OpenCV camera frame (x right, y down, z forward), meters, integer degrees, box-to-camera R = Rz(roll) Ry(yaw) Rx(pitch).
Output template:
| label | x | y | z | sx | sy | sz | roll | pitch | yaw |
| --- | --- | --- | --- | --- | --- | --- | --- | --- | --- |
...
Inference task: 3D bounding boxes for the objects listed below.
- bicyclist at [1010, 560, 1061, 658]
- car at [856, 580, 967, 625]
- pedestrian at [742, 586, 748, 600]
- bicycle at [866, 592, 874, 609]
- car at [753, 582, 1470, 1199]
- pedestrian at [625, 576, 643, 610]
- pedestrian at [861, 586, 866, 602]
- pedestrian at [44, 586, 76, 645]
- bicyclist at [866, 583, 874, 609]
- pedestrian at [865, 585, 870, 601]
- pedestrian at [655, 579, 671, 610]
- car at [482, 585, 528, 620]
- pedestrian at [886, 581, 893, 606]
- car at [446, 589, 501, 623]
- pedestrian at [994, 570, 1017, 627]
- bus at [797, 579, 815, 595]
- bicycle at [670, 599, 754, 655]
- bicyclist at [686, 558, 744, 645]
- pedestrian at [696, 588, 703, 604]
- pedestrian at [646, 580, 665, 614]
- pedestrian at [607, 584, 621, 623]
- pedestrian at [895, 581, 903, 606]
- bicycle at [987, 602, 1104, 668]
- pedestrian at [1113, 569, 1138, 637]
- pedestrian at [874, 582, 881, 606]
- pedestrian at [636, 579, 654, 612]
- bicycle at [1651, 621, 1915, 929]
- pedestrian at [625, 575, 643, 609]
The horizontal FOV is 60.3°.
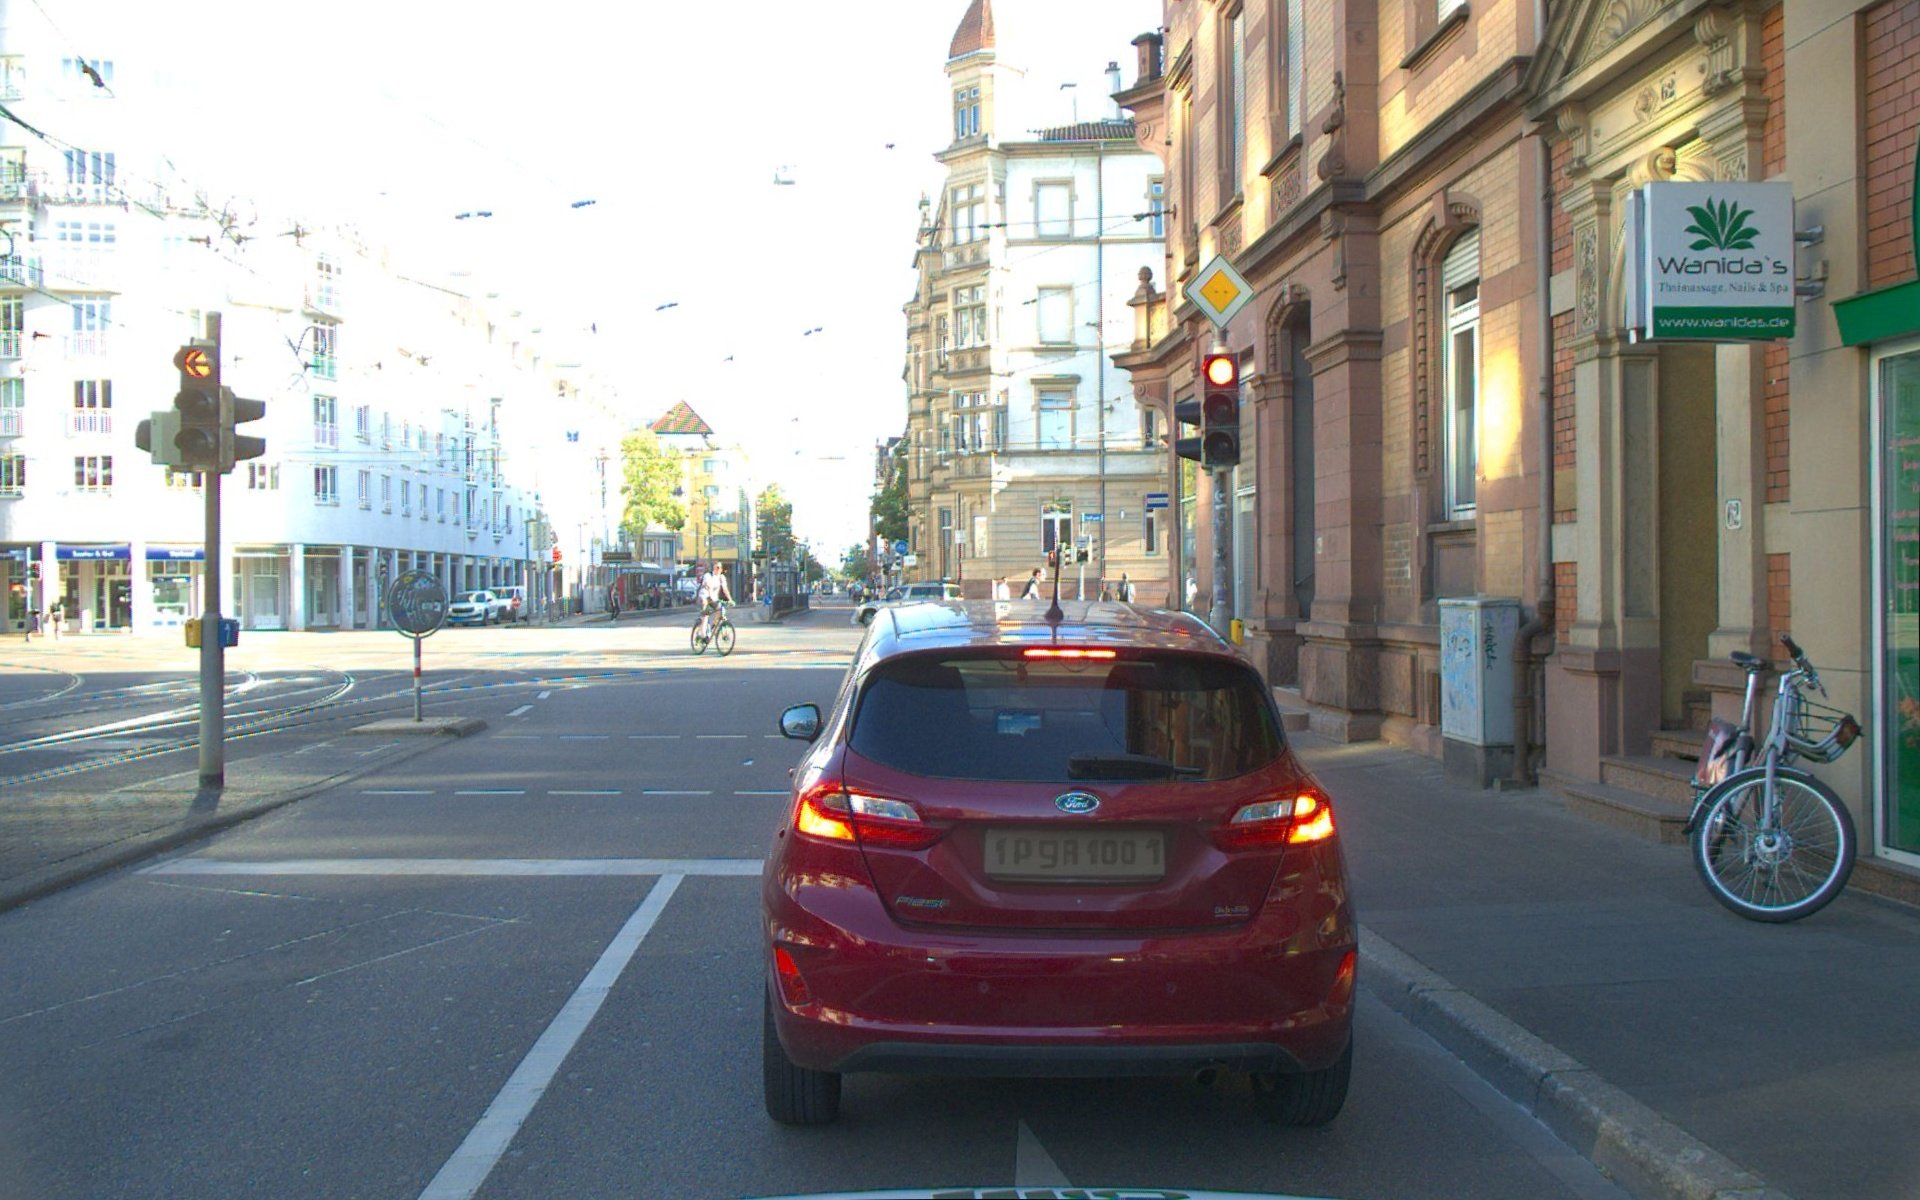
| label | x | y | z | sx | sy | sz | roll | pitch | yaw |
| --- | --- | --- | --- | --- | --- | --- | --- | --- | --- |
| bicyclist | 1.383 | 0.159 | 30.220 | 0.775 | 1.756 | 0.811 | -1 | 0 | 14 |
| car | -1.769 | 0.105 | 60.135 | 3.819 | 1.576 | 1.453 | -1 | 0 | 26 |
| pedestrian | -25.504 | -0.812 | 196.370 | 0.619 | 1.632 | 0.575 | -1 | 0 | -20 |
| bicycle | -6.095 | 0.028 | 112.025 | 0.515 | 1.108 | 1.486 | -1 | 0 | -1 |
| car | 0.204 | 0.704 | 5.914 | 1.720 | 1.492 | 3.941 | 1 | 0 | -5 |
| pedestrian | -19.782 | -0.412 | 100.348 | 0.937 | 2.049 | 1.048 | -1 | 0 | -4 |
| pedestrian | -11.938 | -0.751 | 203.889 | 0.565 | 1.920 | 0.669 | -1 | 0 | -3 |
| pedestrian | -31.728 | 0.528 | 58.285 | 0.934 | 2.049 | 0.930 | -1 | 0 | -31 |
| bicyclist | -6.092 | -0.272 | 111.893 | 0.489 | 1.705 | 0.545 | -1 | 0 | -2 |
| pedestrian | -11.256 | -0.800 | 200.447 | 0.565 | 1.920 | 0.630 | -1 | 0 | -3 |
| pedestrian | -19.973 | -0.351 | 111.366 | 0.937 | 2.049 | 1.047 | -1 | 0 | -6 |
| car | -23.932 | 0.126 | 87.079 | 1.667 | 1.748 | 3.561 | -1 | 0 | -4 |
| pedestrian | -5.757 | -0.512 | 135.010 | 0.565 | 2.049 | 0.631 | -1 | 0 | 2 |
| car | -23.367 | 0.288 | 79.501 | 1.730 | 1.573 | 3.459 | -1 | 0 | -3 |
| pedestrian | 1.675 | -0.056 | 60.973 | 0.741 | 2.049 | 0.654 | -1 | 0 | 7 |
| bus | -20.153 | -1.675 | 216.770 | 1.887 | 2.049 | 7.134 | -1 | 0 | -2 |
| bicycle | -5.381 | 0.562 | 35.791 | 0.804 | 1.167 | 1.978 | -1 | 0 | -44 |
| bicyclist | -5.301 | 0.019 | 35.788 | 0.804 | 1.853 | 0.977 | -1 | 0 | -44 |
| pedestrian | -25.219 | -0.387 | 160.204 | 0.569 | 1.514 | 0.525 | -1 | 0 | -5 |
| pedestrian | -18.846 | -0.184 | 102.431 | 1.025 | 2.049 | 0.958 | -1 | 0 | -6 |
| pedestrian | -15.244 | 0.138 | 72.889 | 0.513 | 1.711 | 0.486 | -1 | 0 | 1 |
| pedestrian | -4.984 | -0.505 | 134.446 | 0.565 | 2.049 | 0.631 | -1 | 0 | 2 |
| bicycle | 1.570 | 0.632 | 30.184 | 1.999 | 1.167 | 0.811 | -1 | 0 | 15 |
| pedestrian | 4.405 | 0.088 | 44.070 | 0.549 | 1.786 | 0.650 | -1 | 0 | -1 |
| pedestrian | -6.948 | -0.518 | 139.433 | 0.565 | 2.049 | 0.631 | -1 | 0 | 2 |
| pedestrian | -19.910 | -0.265 | 104.490 | 1.025 | 2.049 | 0.958 | -1 | 0 | -6 |
| bicycle | 3.637 | 0.719 | 7.455 | 0.700 | 1.172 | 1.656 | -2 | 0 | 15 |
| pedestrian | -20.213 | -0.502 | 102.530 | 1.025 | 2.049 | 0.958 | -1 | 0 | -6 |
